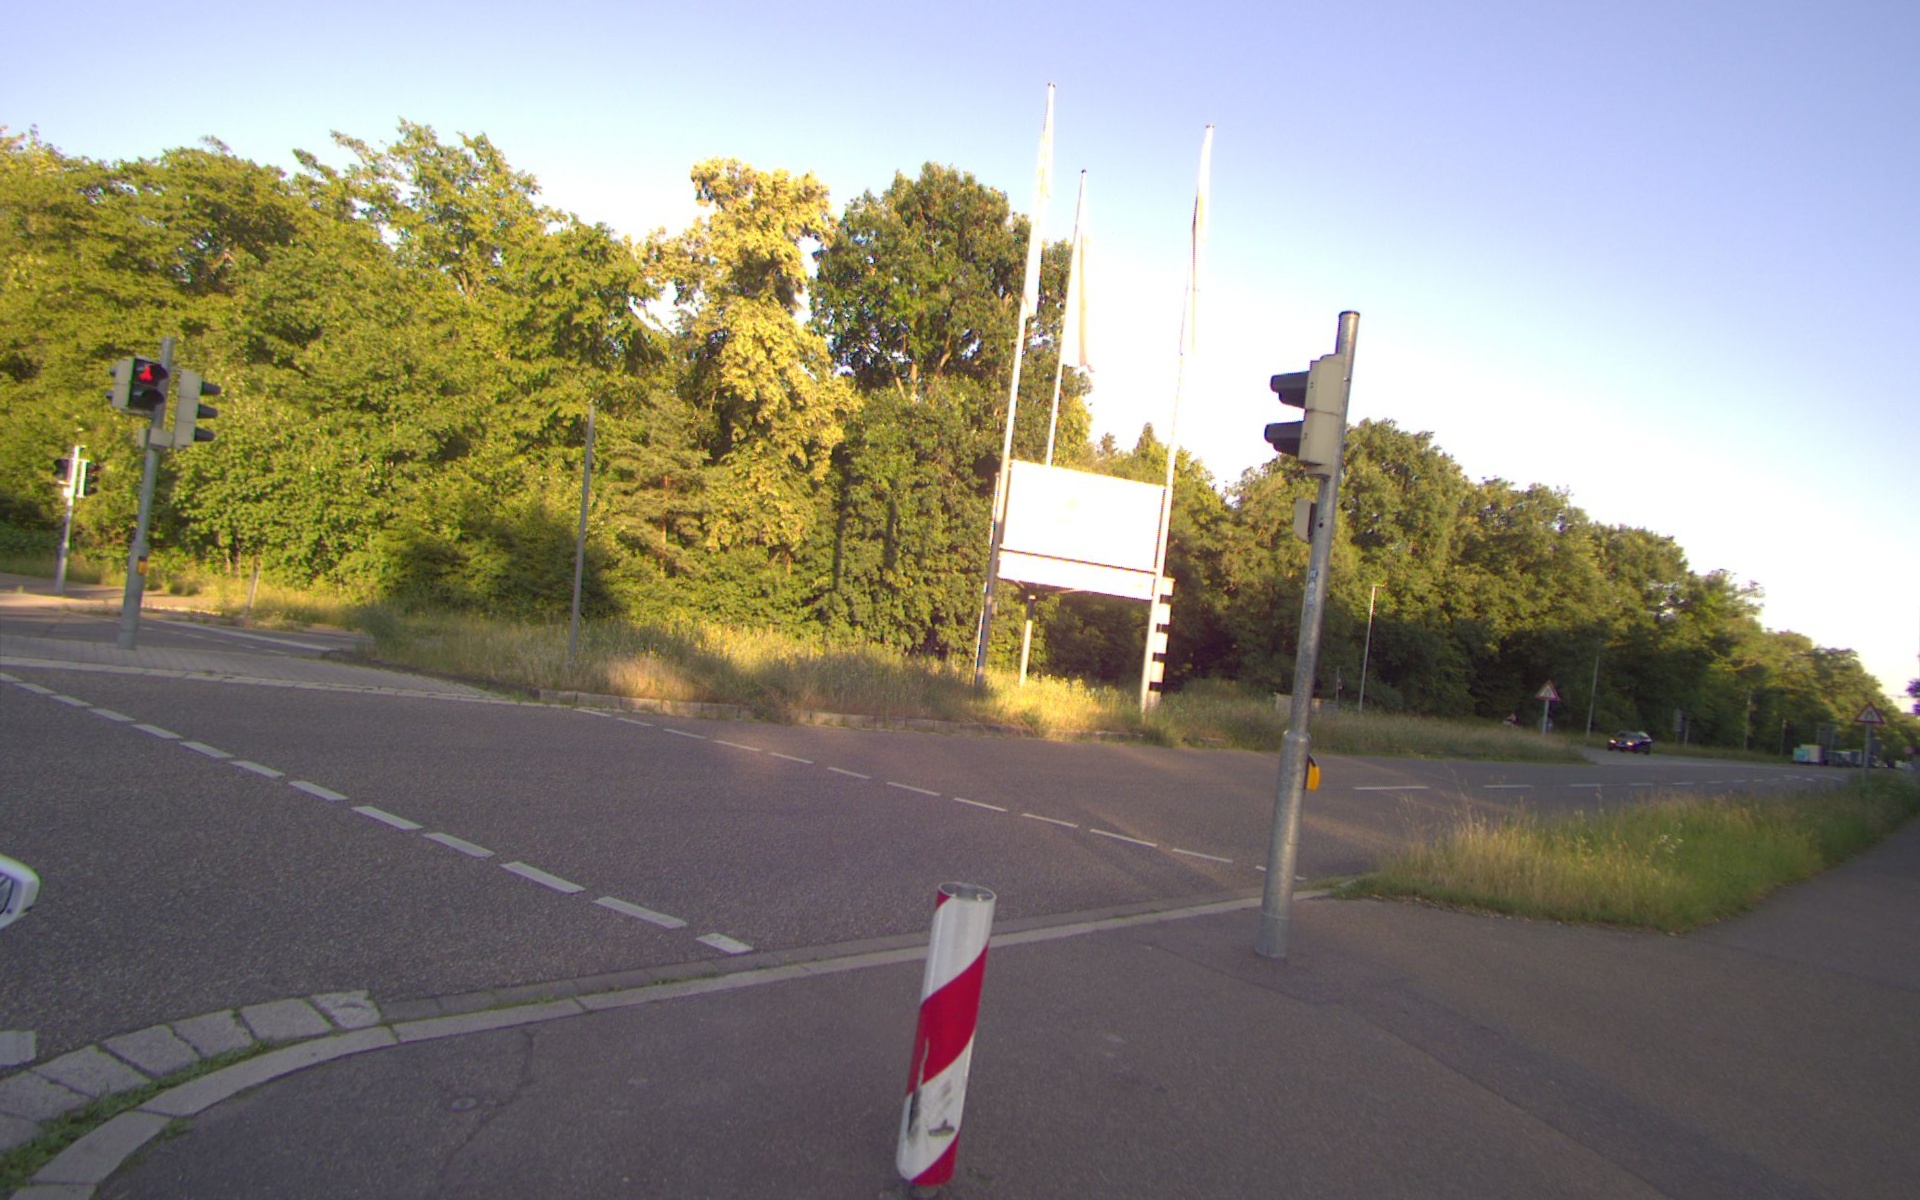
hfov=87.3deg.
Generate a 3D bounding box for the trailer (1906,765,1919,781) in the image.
[{"bbox_3d":[117.154,21.181,122.824,3.738,1.680,1.450,9,-3,-31],"label":"trailer"}]

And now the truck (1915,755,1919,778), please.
[{"bbox_3d":[139.923,24.283,145.073,7.178,3.292,2.566,10,-2,-42],"label":"truck"}]

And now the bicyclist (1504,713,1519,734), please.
[{"bbox_3d":[41.430,9.290,75.535,0.815,1.446,0.582,8,-2,-34],"label":"bicyclist"}]

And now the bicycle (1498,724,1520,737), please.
[{"bbox_3d":[41.189,9.811,75.438,1.941,0.813,0.582,9,-3,-34],"label":"bicycle"}]

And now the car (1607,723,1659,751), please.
[{"bbox_3d":[46.463,9.467,69.452,4.424,1.550,1.806,9,-5,-40],"label":"car"}]

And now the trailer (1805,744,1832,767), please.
[{"bbox_3d":[120.856,21.903,141.609,2.305,2.956,5.597,2,-5,45],"label":"trailer"}]

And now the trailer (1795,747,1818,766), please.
[{"bbox_3d":[109.969,20.358,130.647,1.801,2.192,4.121,4,-3,45],"label":"trailer"}]
